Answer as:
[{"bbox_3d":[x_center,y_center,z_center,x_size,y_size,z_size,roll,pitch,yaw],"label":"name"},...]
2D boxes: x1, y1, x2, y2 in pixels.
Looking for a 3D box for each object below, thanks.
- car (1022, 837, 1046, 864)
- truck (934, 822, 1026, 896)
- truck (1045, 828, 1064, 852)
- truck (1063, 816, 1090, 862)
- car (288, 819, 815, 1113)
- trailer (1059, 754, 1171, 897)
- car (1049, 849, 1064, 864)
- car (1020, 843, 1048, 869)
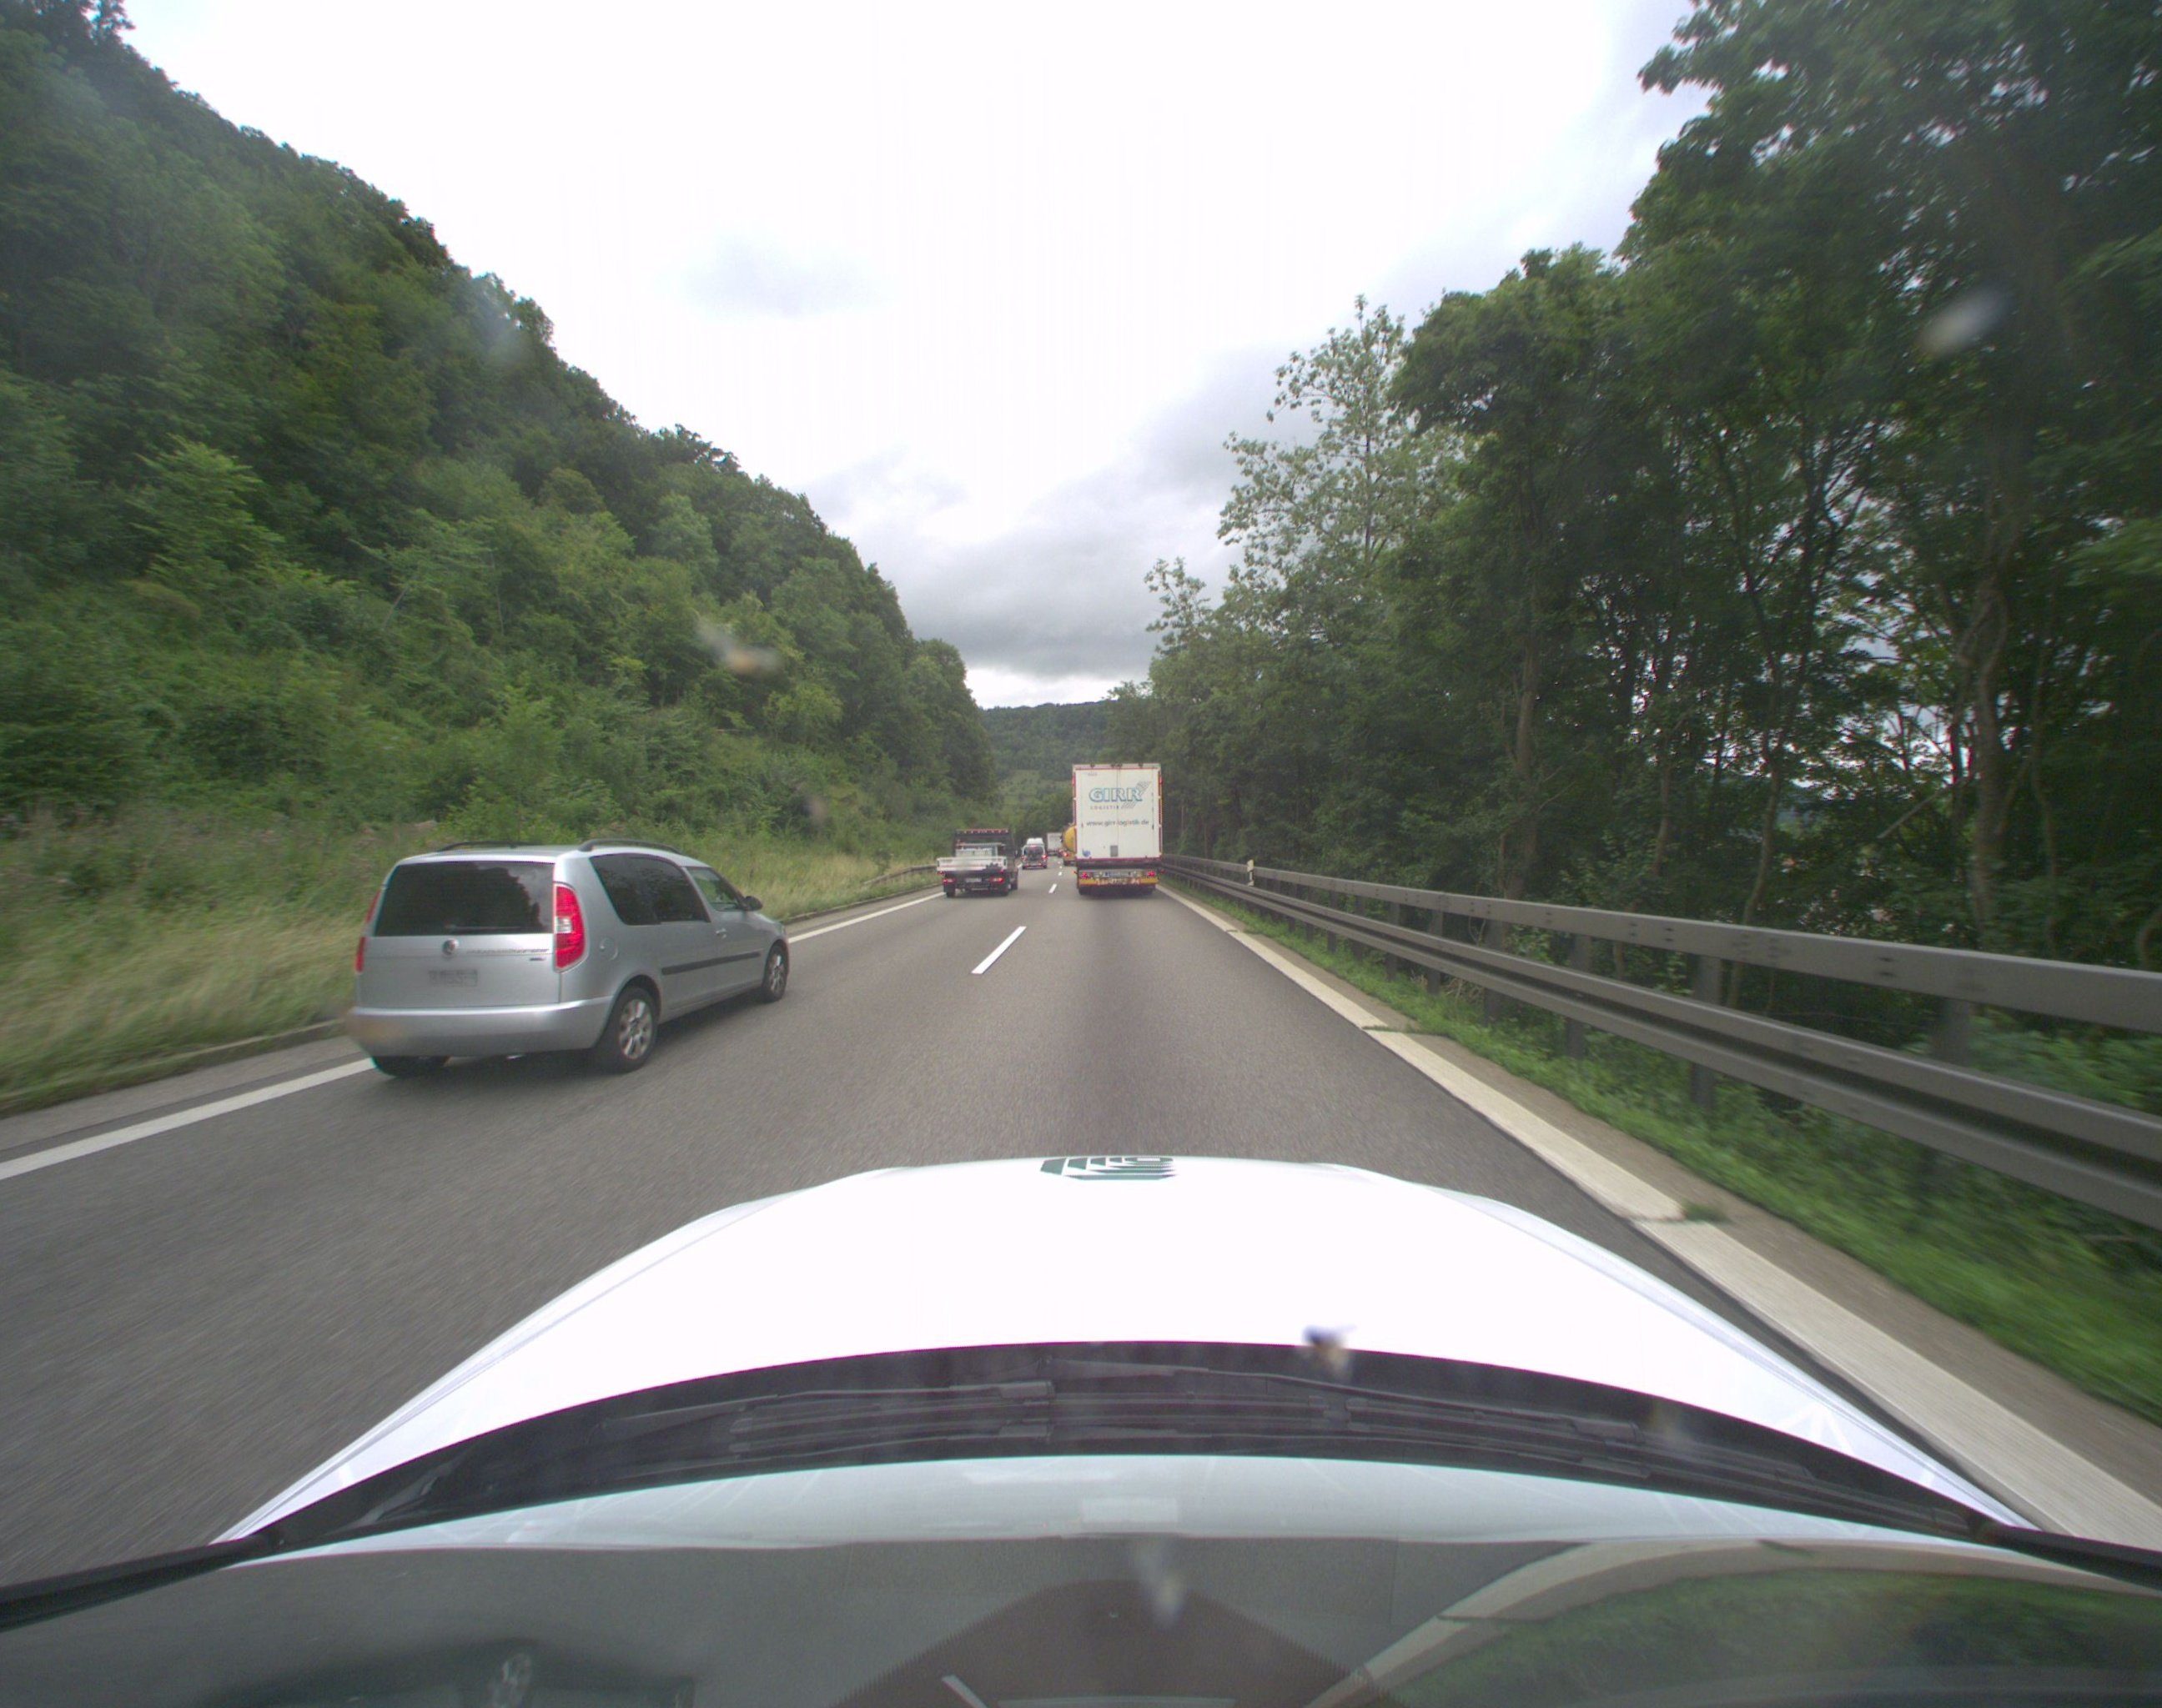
[{"bbox_3d":[-4.742,-0.363,82.968,2.117,2.598,5.561,-1,1,-1],"label":"car"},{"bbox_3d":[-3.338,0.110,28.527,2.341,2.273,6.849,0,1,0],"label":"truck"},{"bbox_3d":[-4.532,-2.302,139.106,3.061,3.877,8.451,0,0,-2],"label":"truck"},{"bbox_3d":[-0.391,-1.239,70.484,2.226,3.803,6.821,0,0,0],"label":"truck"},{"bbox_3d":[-3.879,0.649,7.046,1.628,1.726,4.345,-1,0,1],"label":"car"},{"bbox_3d":[1.020,-0.881,28.035,3.122,4.042,9.440,1,1,1],"label":"trailer"},{"bbox_3d":[-3.518,0.348,117.176,1.990,2.013,3.994,0,0,-4],"label":"car"},{"bbox_3d":[-3.584,0.111,63.556,2.013,1.914,5.560,0,1,-2],"label":"car"}]
